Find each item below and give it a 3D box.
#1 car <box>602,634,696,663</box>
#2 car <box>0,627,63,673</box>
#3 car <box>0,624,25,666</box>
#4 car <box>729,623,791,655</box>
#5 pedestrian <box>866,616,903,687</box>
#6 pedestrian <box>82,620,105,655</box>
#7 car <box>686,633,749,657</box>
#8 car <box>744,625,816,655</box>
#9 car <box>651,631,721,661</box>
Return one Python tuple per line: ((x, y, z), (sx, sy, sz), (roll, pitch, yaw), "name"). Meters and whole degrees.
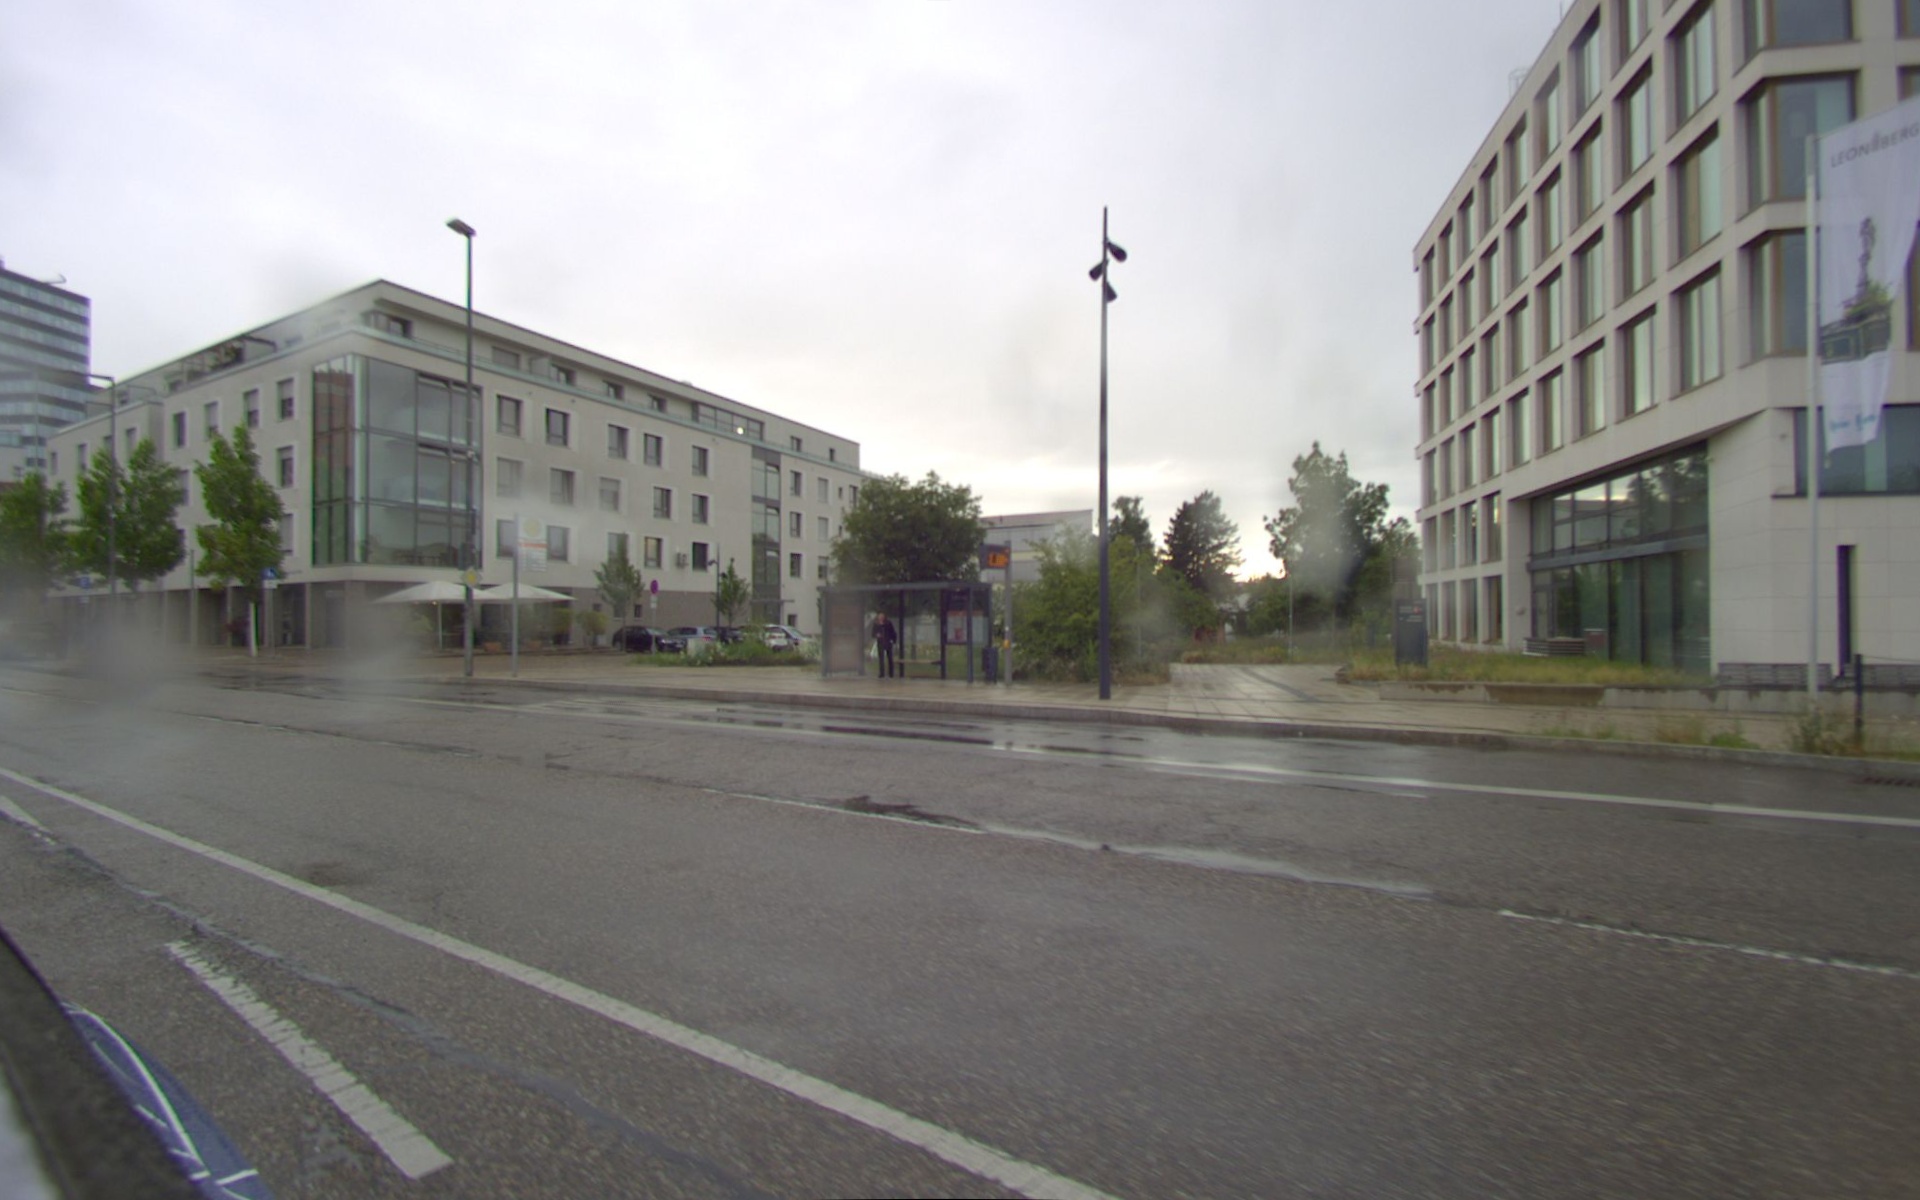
((-16.082, 2.462, 52.280), (4.435, 1.305, 1.783), (1, -1, 19), "car")
((-34.877, 1.817, 37.402), (4.460, 1.594, 1.574), (-1, -2, 35), "car")
((-39.386, 1.790, 40.824), (4.570, 1.521, 1.675), (1, -1, 38), "car")
((-12.132, 2.360, 61.377), (3.431, 1.790, 1.482), (1, -1, 19), "car")
((-1.934, 1.305, 25.982), (0.669, 1.758, 0.779), (1, -1, 21), "pedestrian")
((-45.201, 1.959, 52.775), (0.799, 1.751, 1.004), (2, -1, -44), "pedestrian")
((-13.778, 2.555, 57.548), (3.234, 1.230, 1.388), (1, -1, 19), "car")
((-11.313, 2.502, 63.699), (3.966, 1.702, 1.989), (1, -1, 17), "car")
((-14.846, 2.451, 54.837), (3.405, 1.470, 1.493), (1, -1, 17), "car")
